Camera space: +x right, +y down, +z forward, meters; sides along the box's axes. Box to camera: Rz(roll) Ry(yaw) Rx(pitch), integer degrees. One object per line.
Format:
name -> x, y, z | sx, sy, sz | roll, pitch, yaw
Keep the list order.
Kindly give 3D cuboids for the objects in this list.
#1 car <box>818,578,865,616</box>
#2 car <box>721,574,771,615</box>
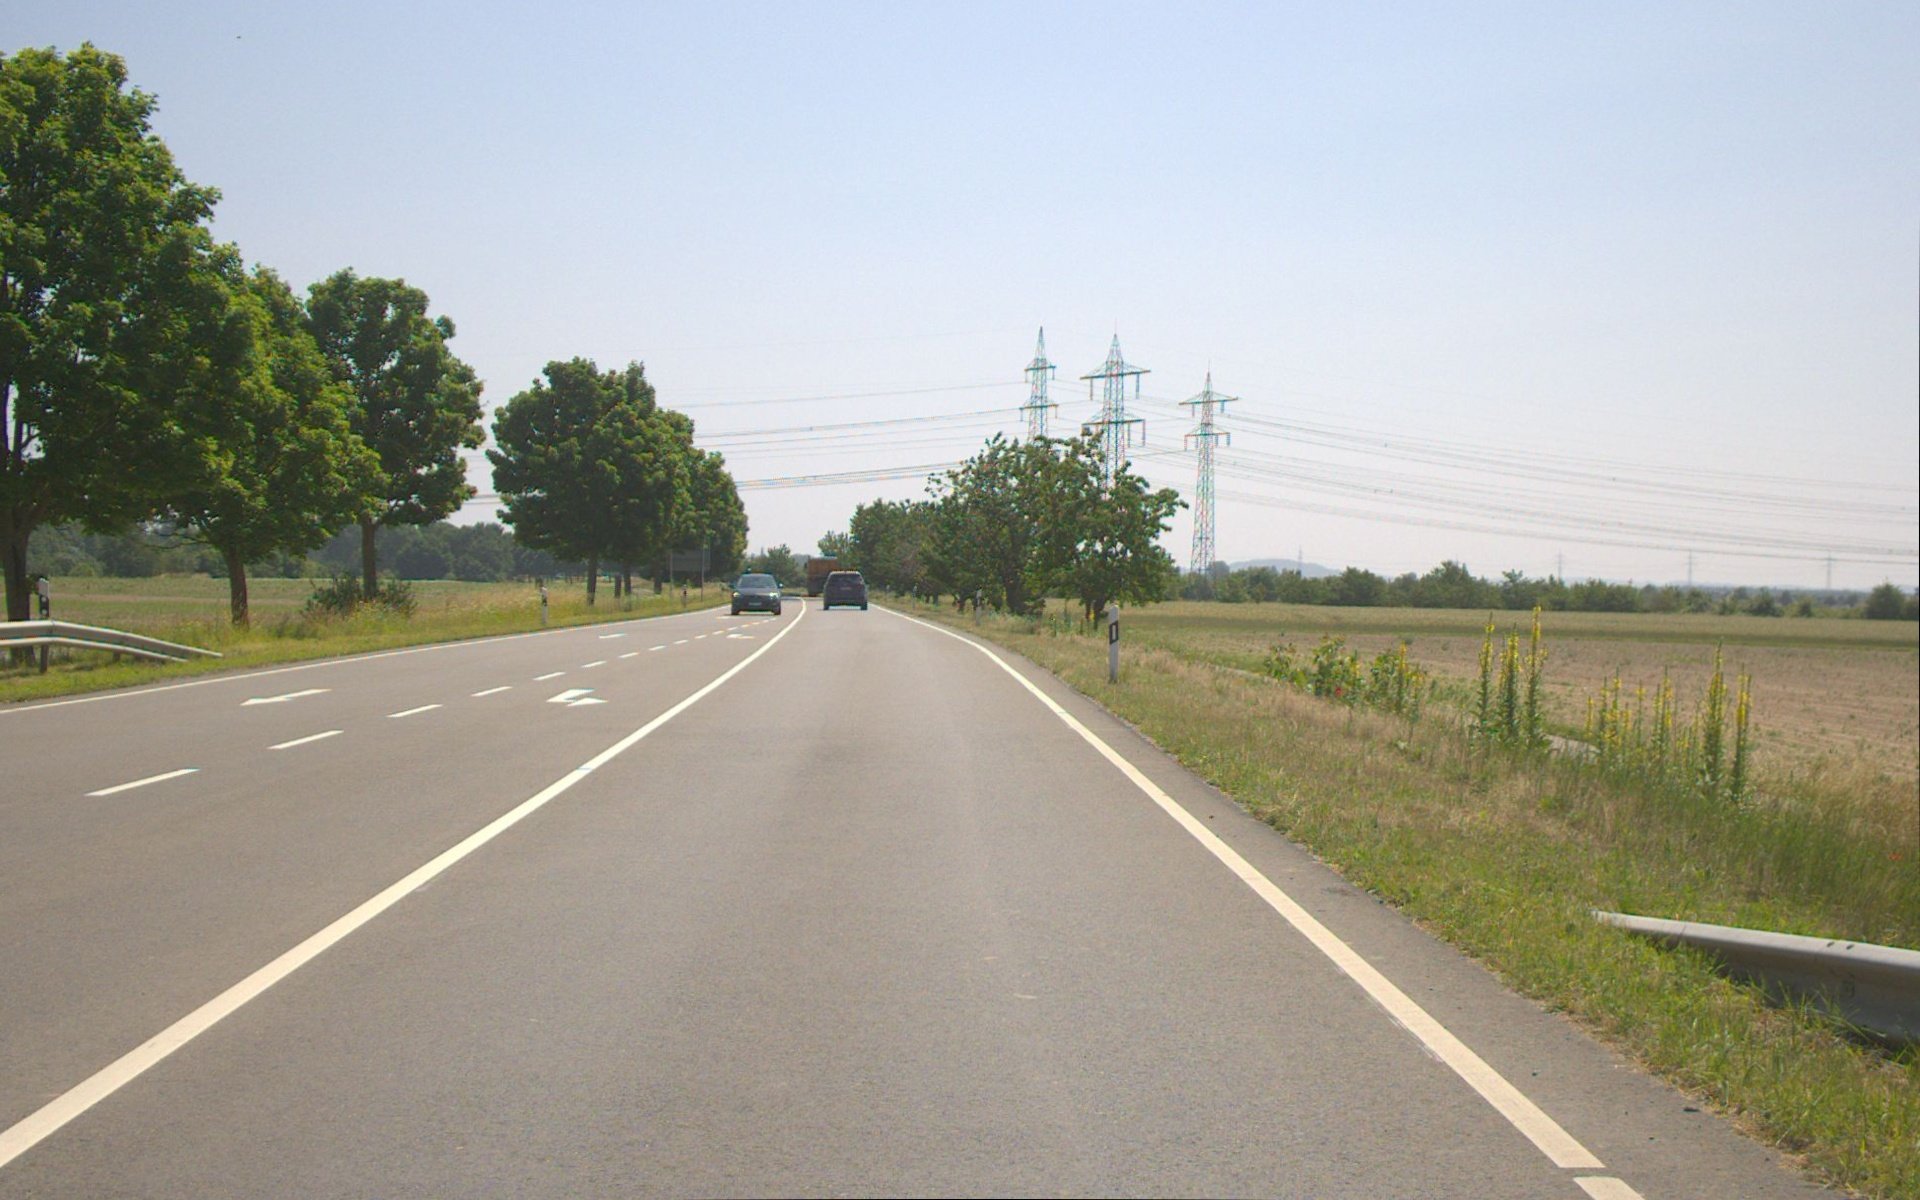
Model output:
car -> -5.145, -0.148, 149.389 | 1.884, 1.513, 4.040 | 4, 0, -3
car -> -7.769, -0.217, 125.275 | 1.739, 1.468, 4.619 | 0, 0, -3
